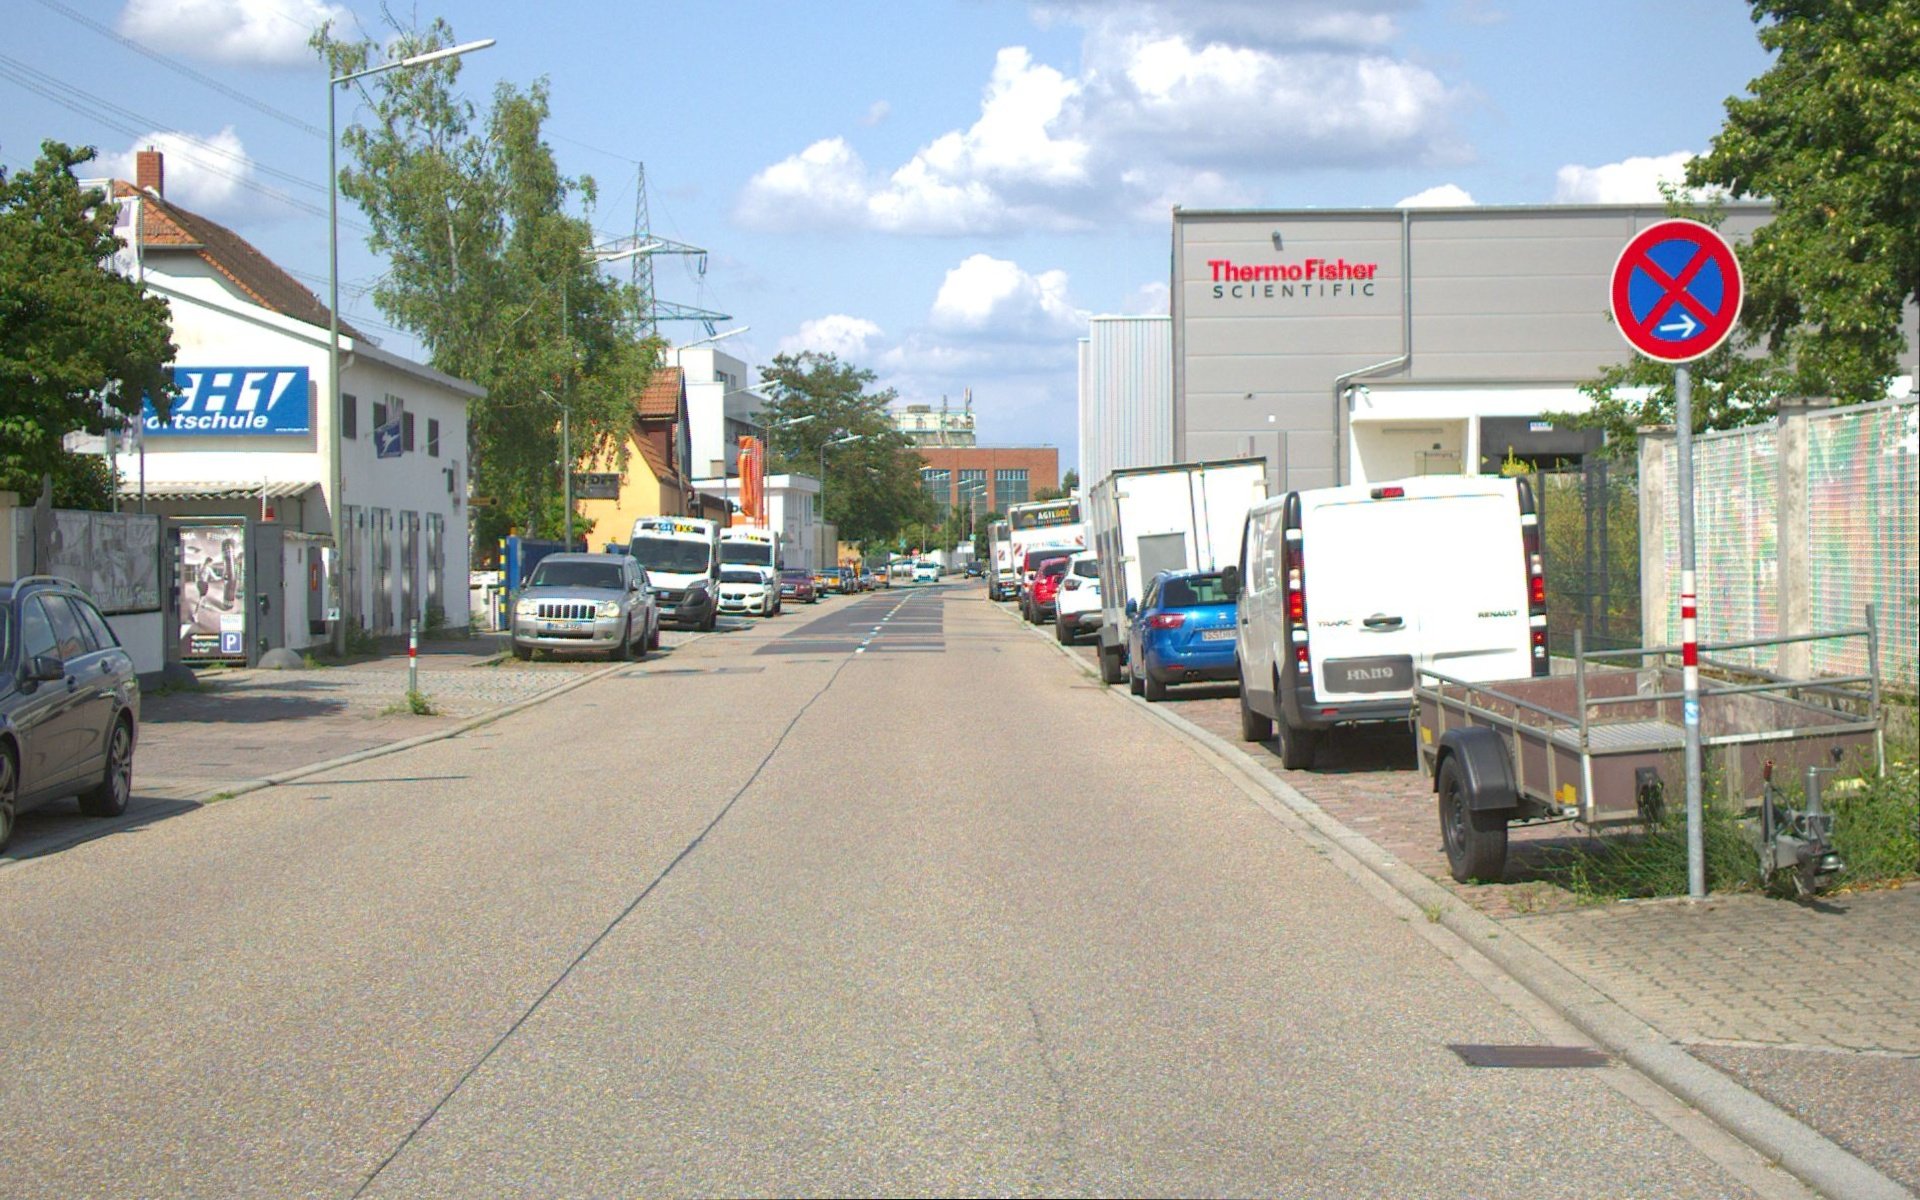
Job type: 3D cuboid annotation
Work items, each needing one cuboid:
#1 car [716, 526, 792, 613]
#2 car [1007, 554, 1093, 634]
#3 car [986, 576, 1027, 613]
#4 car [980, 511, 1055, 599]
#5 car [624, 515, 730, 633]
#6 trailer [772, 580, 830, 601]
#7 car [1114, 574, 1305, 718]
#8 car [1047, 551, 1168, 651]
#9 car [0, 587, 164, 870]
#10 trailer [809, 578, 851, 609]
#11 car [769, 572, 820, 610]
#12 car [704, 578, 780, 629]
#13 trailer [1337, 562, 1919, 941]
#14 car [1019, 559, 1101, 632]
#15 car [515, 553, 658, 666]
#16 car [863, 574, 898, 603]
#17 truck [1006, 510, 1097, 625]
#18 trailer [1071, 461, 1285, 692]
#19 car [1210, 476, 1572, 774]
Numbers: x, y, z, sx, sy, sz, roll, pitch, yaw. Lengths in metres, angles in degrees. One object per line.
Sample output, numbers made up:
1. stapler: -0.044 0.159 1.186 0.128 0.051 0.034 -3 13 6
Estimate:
1. car: -6.329 -0.897 106.239 2.026 2.553 6.840 1 0 -1
2. car: 2.338 -0.168 90.340 2.054 1.897 5.147 -4 0 1
3. car: 2.072 -0.241 151.474 1.768 1.607 3.873 0 0 1
4. car: 2.285 -1.772 138.888 2.388 3.351 6.646 -3 0 -3
5. car: -6.471 -0.568 79.176 2.030 2.549 6.657 2 0 -2
6. trailer: -7.213 -0.420 156.560 2.362 0.890 5.569 2 0 0
7. car: 2.747 0.494 38.627 1.690 1.456 4.071 -3 0 -1
8. car: 2.690 -0.011 63.727 1.935 1.688 4.680 -3 1 0
9. car: -5.860 0.645 19.313 1.805 1.414 4.497 2 0 -1
10. trailer: -6.689 -0.329 177.580 1.993 1.551 4.253 0 0 0
11. car: -6.612 -0.365 137.669 1.762 1.442 4.741 2 0 0
12. car: -6.242 0.094 98.924 1.796 1.392 4.501 1 0 1
13. trailer: 3.102 0.603 15.885 1.748 1.412 4.550 -3 0 -5
14. car: 2.403 -0.093 83.057 1.704 1.619 4.093 -3 0 -1
15. car: -6.082 0.138 56.411 1.791 1.714 4.751 2 0 0
16. car: -4.971 -0.720 216.608 1.922 1.788 4.000 1 0 2
17. truck: 2.824 -0.990 107.847 2.458 3.282 6.817 -5 0 0
18. trailer: 2.780 -0.281 45.331 2.204 2.728 6.222 -3 0 -1
19. car: 3.147 0.165 26.277 1.993 2.007 5.650 -1 0 0
